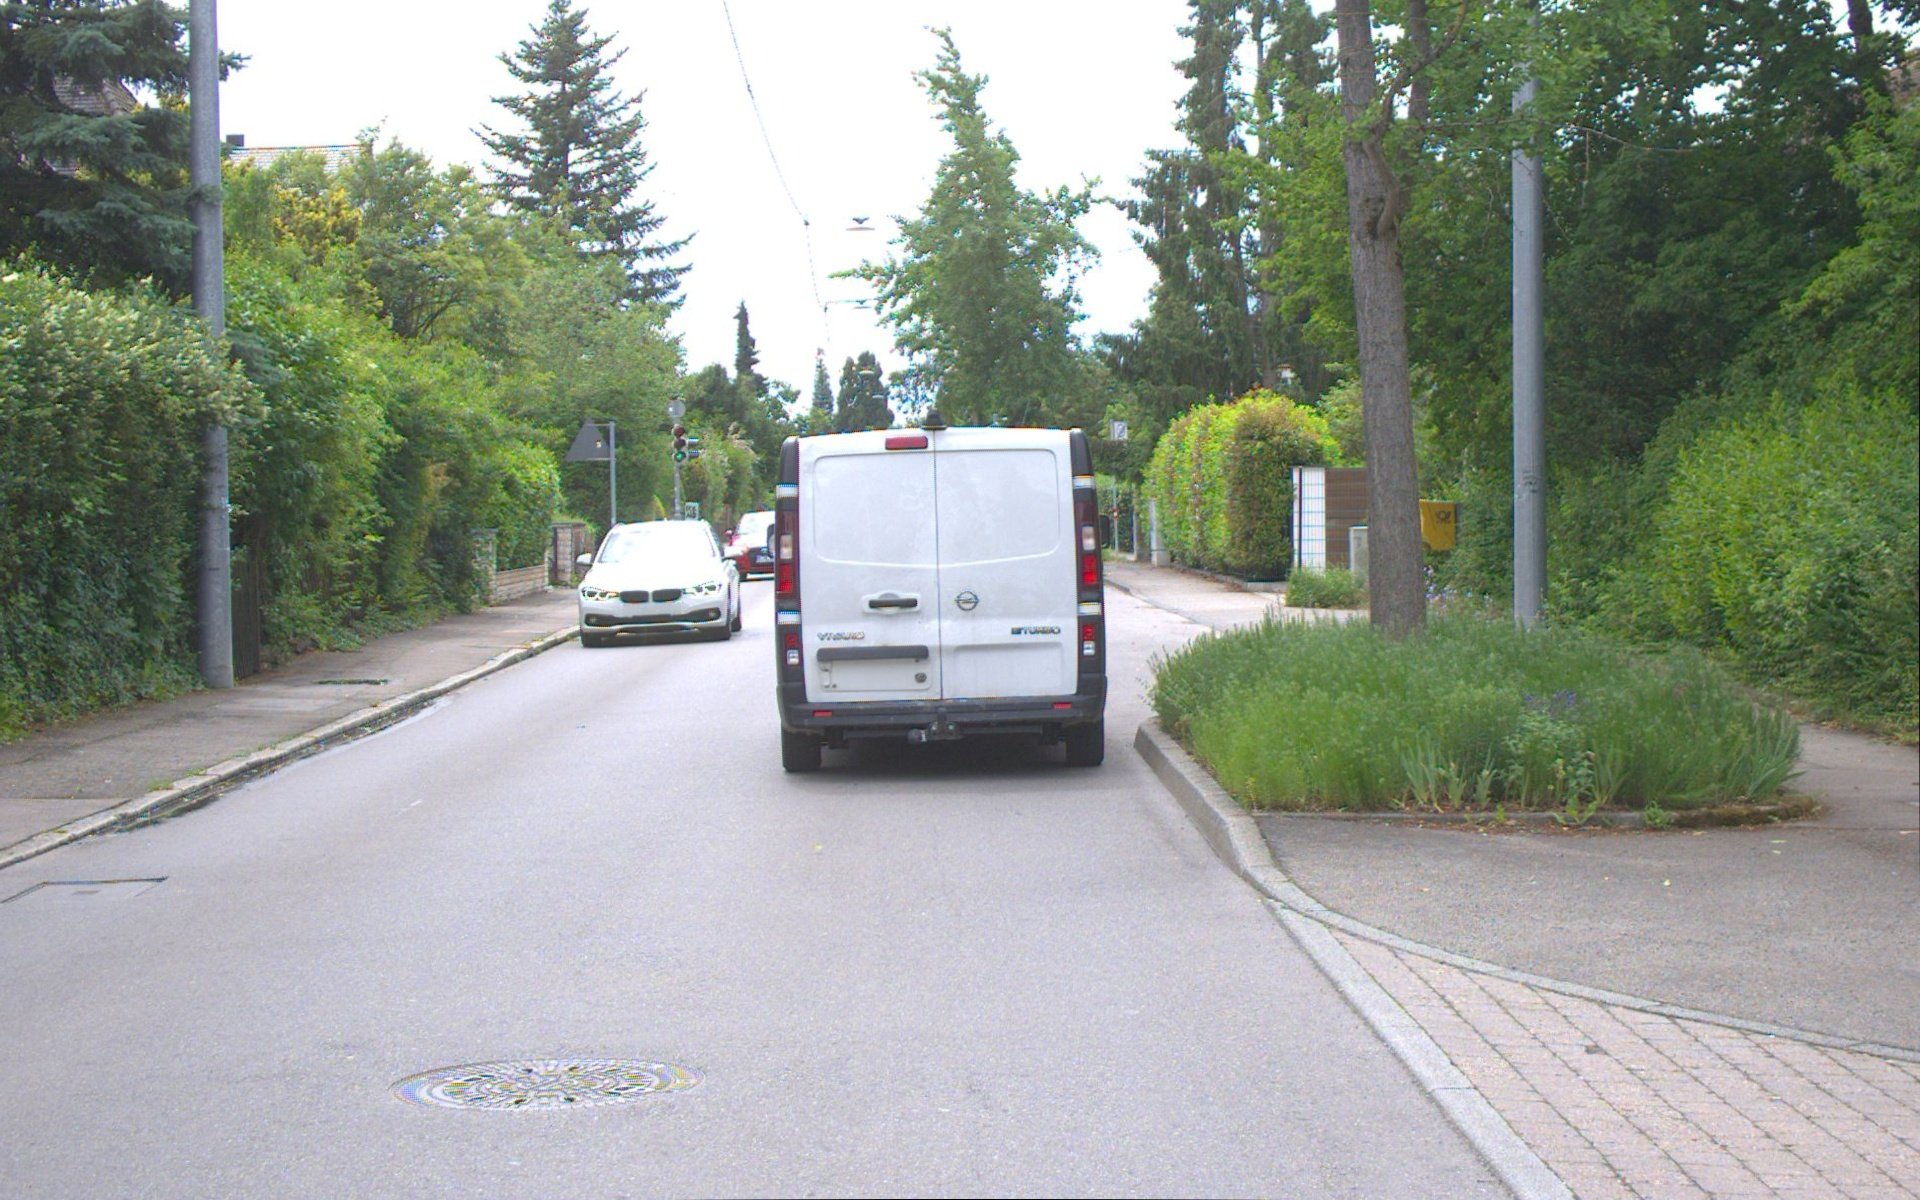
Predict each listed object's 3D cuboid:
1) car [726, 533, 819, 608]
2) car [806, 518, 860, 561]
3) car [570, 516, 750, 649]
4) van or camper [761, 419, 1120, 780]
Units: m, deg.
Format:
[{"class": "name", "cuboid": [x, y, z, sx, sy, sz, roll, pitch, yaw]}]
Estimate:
[{"class": "car", "cuboid": [-3.944, -0.642, 72.811, 1.805, 1.426, 4.119, -4, 1, -2]}, {"class": "car", "cuboid": [-4.667, -2.216, 126.023, 1.854, 1.446, 4.282, -3, 2, -2]}, {"class": "car", "cuboid": [-3.600, -0.252, 41.854, 1.805, 1.426, 4.301, -3, 1, -1]}, {"class": "van or camper", "cuboid": [-0.176, -0.014, 21.027, 1.939, 1.947, 4.765, 0, 0, -2]}]
